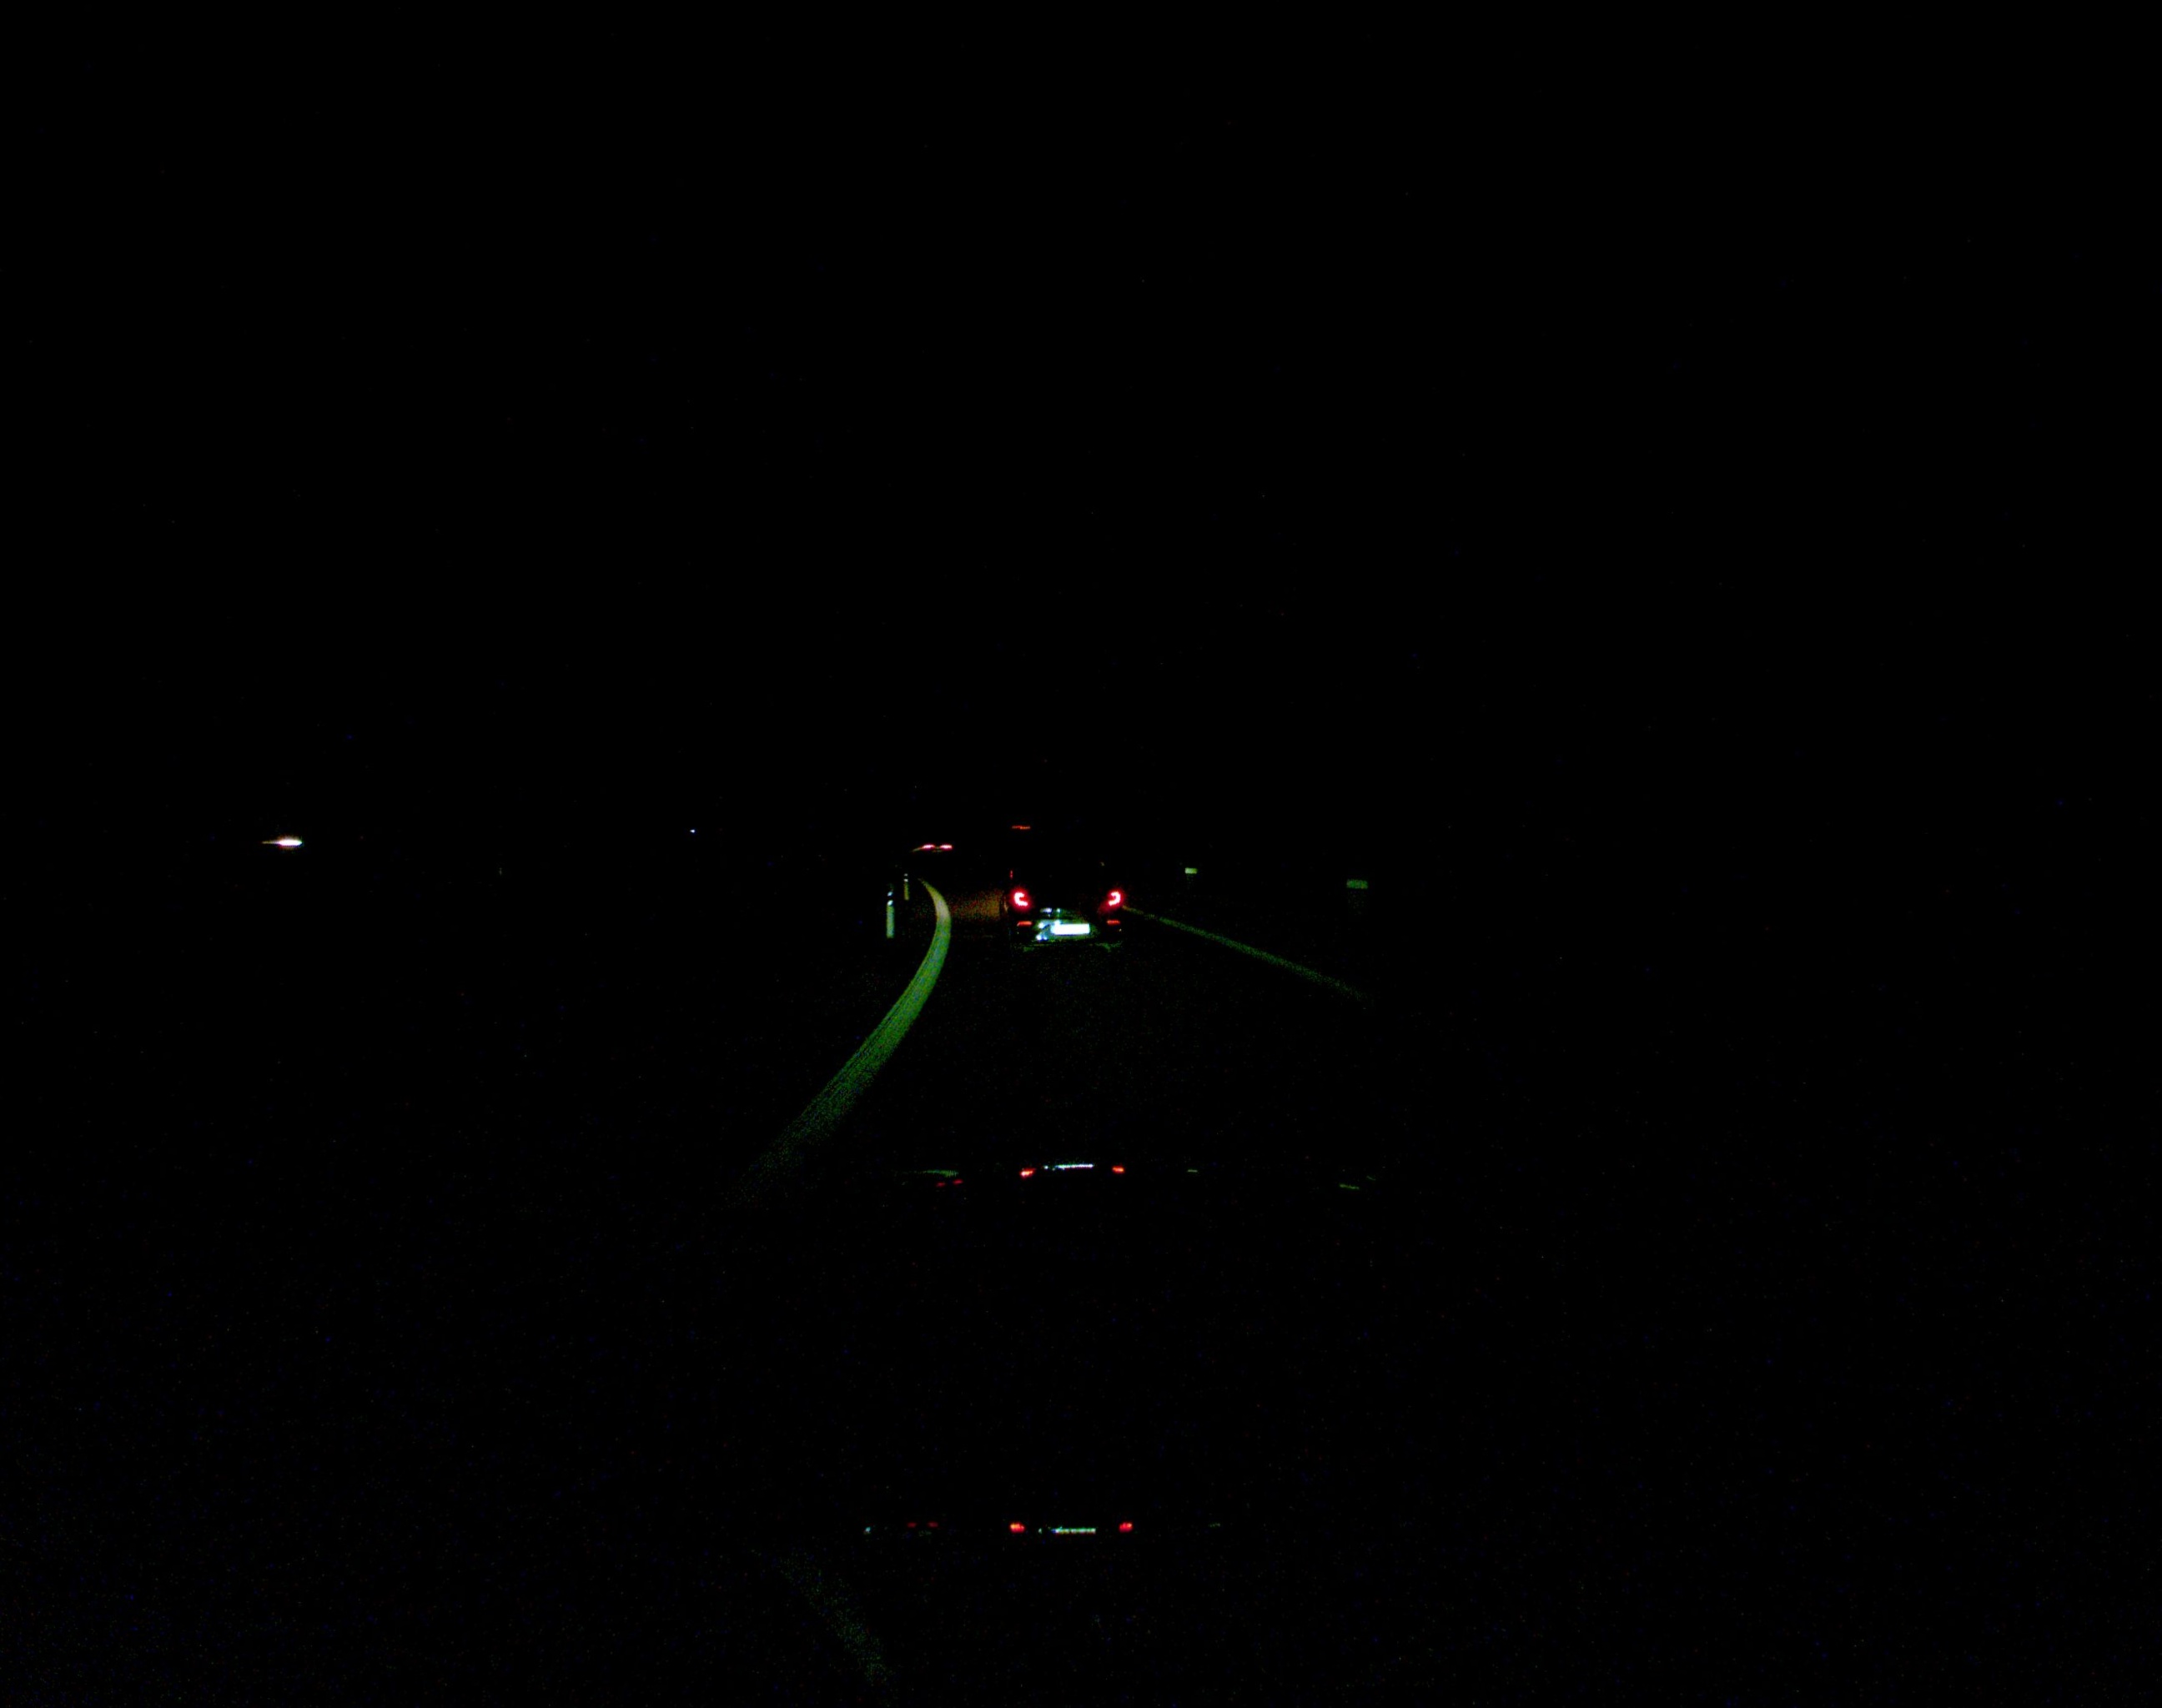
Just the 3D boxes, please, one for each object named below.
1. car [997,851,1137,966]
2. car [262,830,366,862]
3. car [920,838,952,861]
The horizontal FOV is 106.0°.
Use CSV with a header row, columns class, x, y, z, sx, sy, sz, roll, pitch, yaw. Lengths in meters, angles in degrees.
class,x,y,z,sx,sy,sz,roll,pitch,yaw
car,-0.384,0.732,12.845,1.690,1.478,3.988,-2,0,-8
car,-44.357,-0.511,47.225,1.771,1.757,4.014,0,2,12
car,-10.457,-0.347,58.662,1.954,1.538,4.221,-2,1,-14
